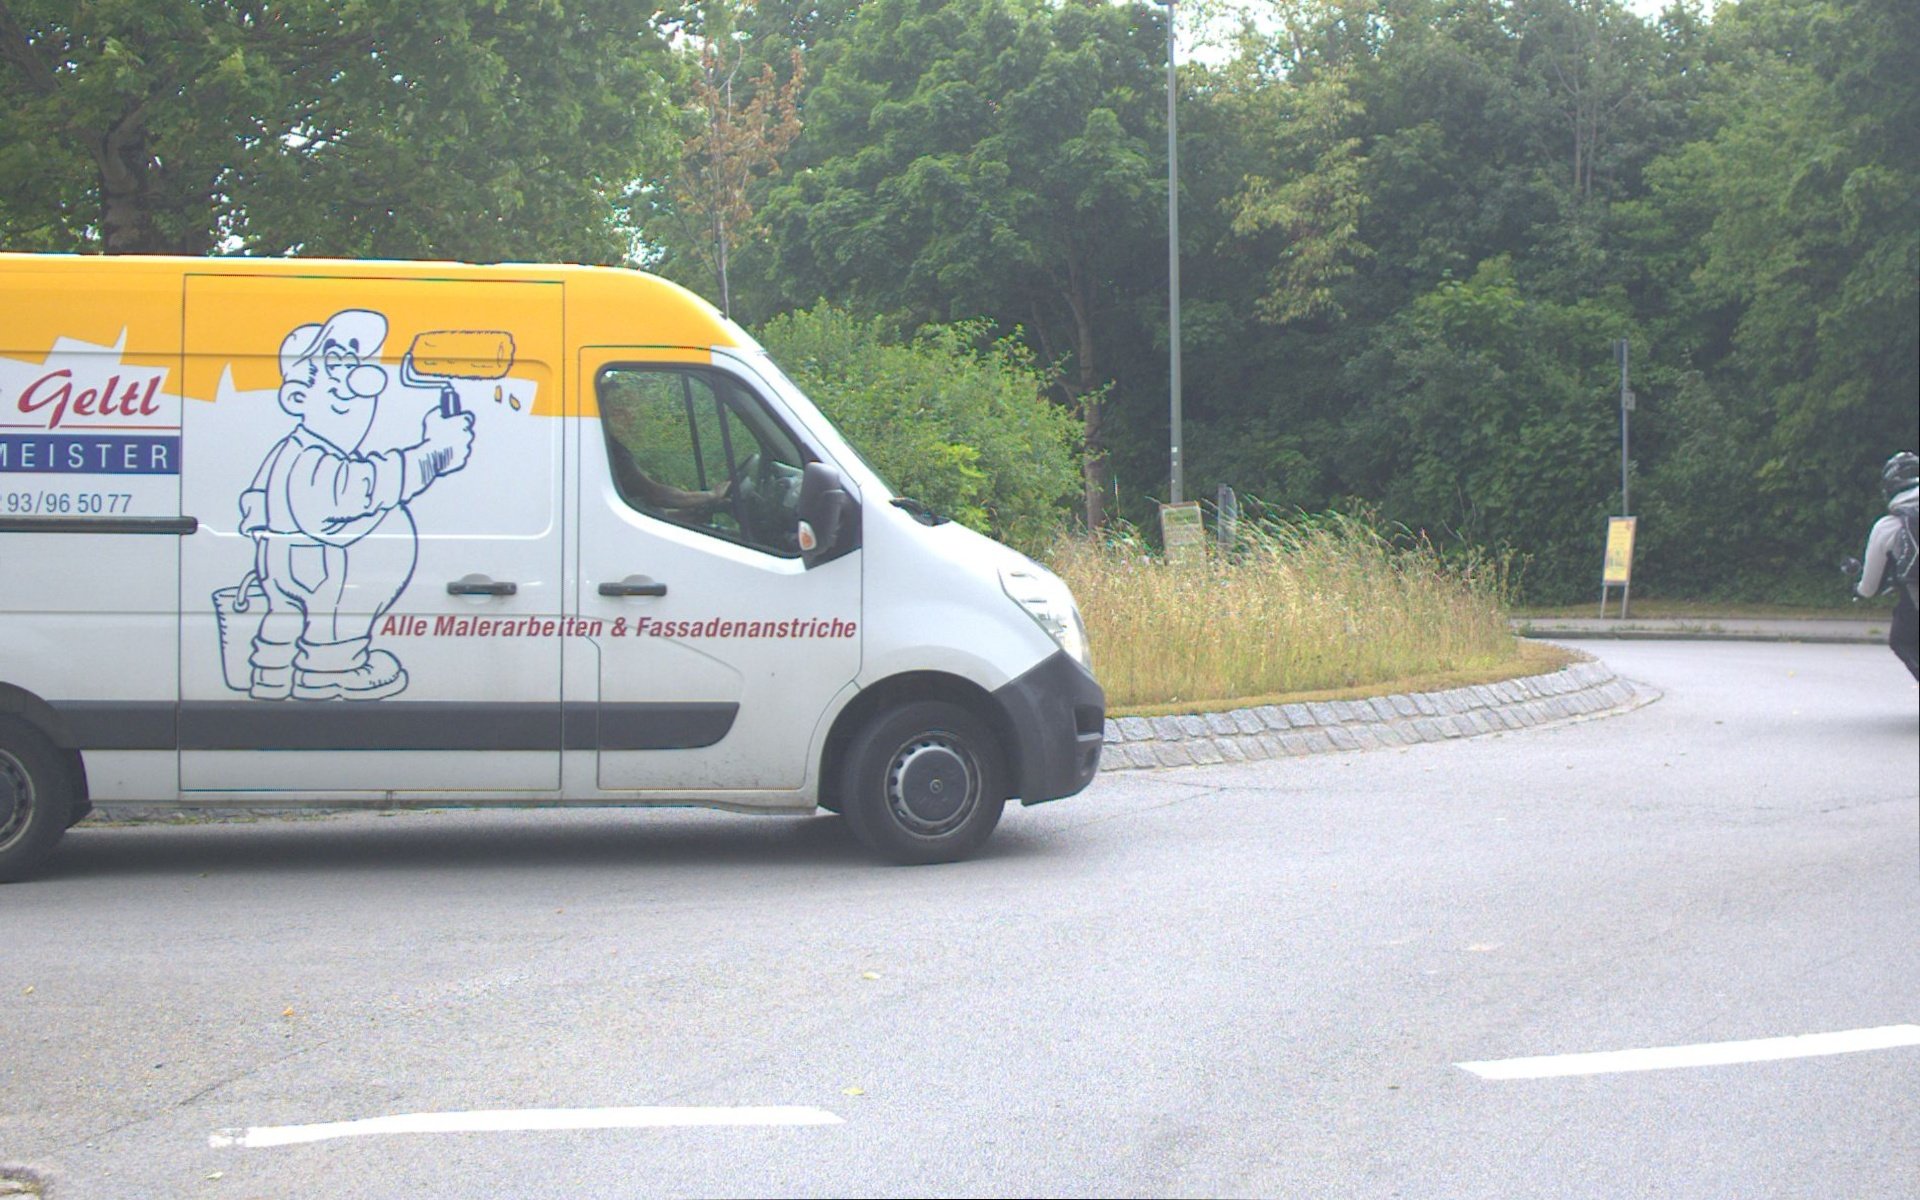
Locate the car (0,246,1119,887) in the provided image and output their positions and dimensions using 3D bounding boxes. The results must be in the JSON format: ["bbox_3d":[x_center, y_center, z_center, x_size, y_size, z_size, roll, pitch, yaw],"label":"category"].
[{"bbox_3d":[-2.201,-0.192,14.386,5.423,2.443,2.170,-1,3,-7],"label":"car"}]

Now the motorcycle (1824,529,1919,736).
[{"bbox_3d":[5.905,0.163,20.497,0.896,1.154,2.620,0,2,1],"label":"motorcycle"}]

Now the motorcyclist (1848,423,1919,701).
[{"bbox_3d":[5.893,-0.240,20.549,0.861,1.618,1.191,0,2,0],"label":"motorcyclist"}]
